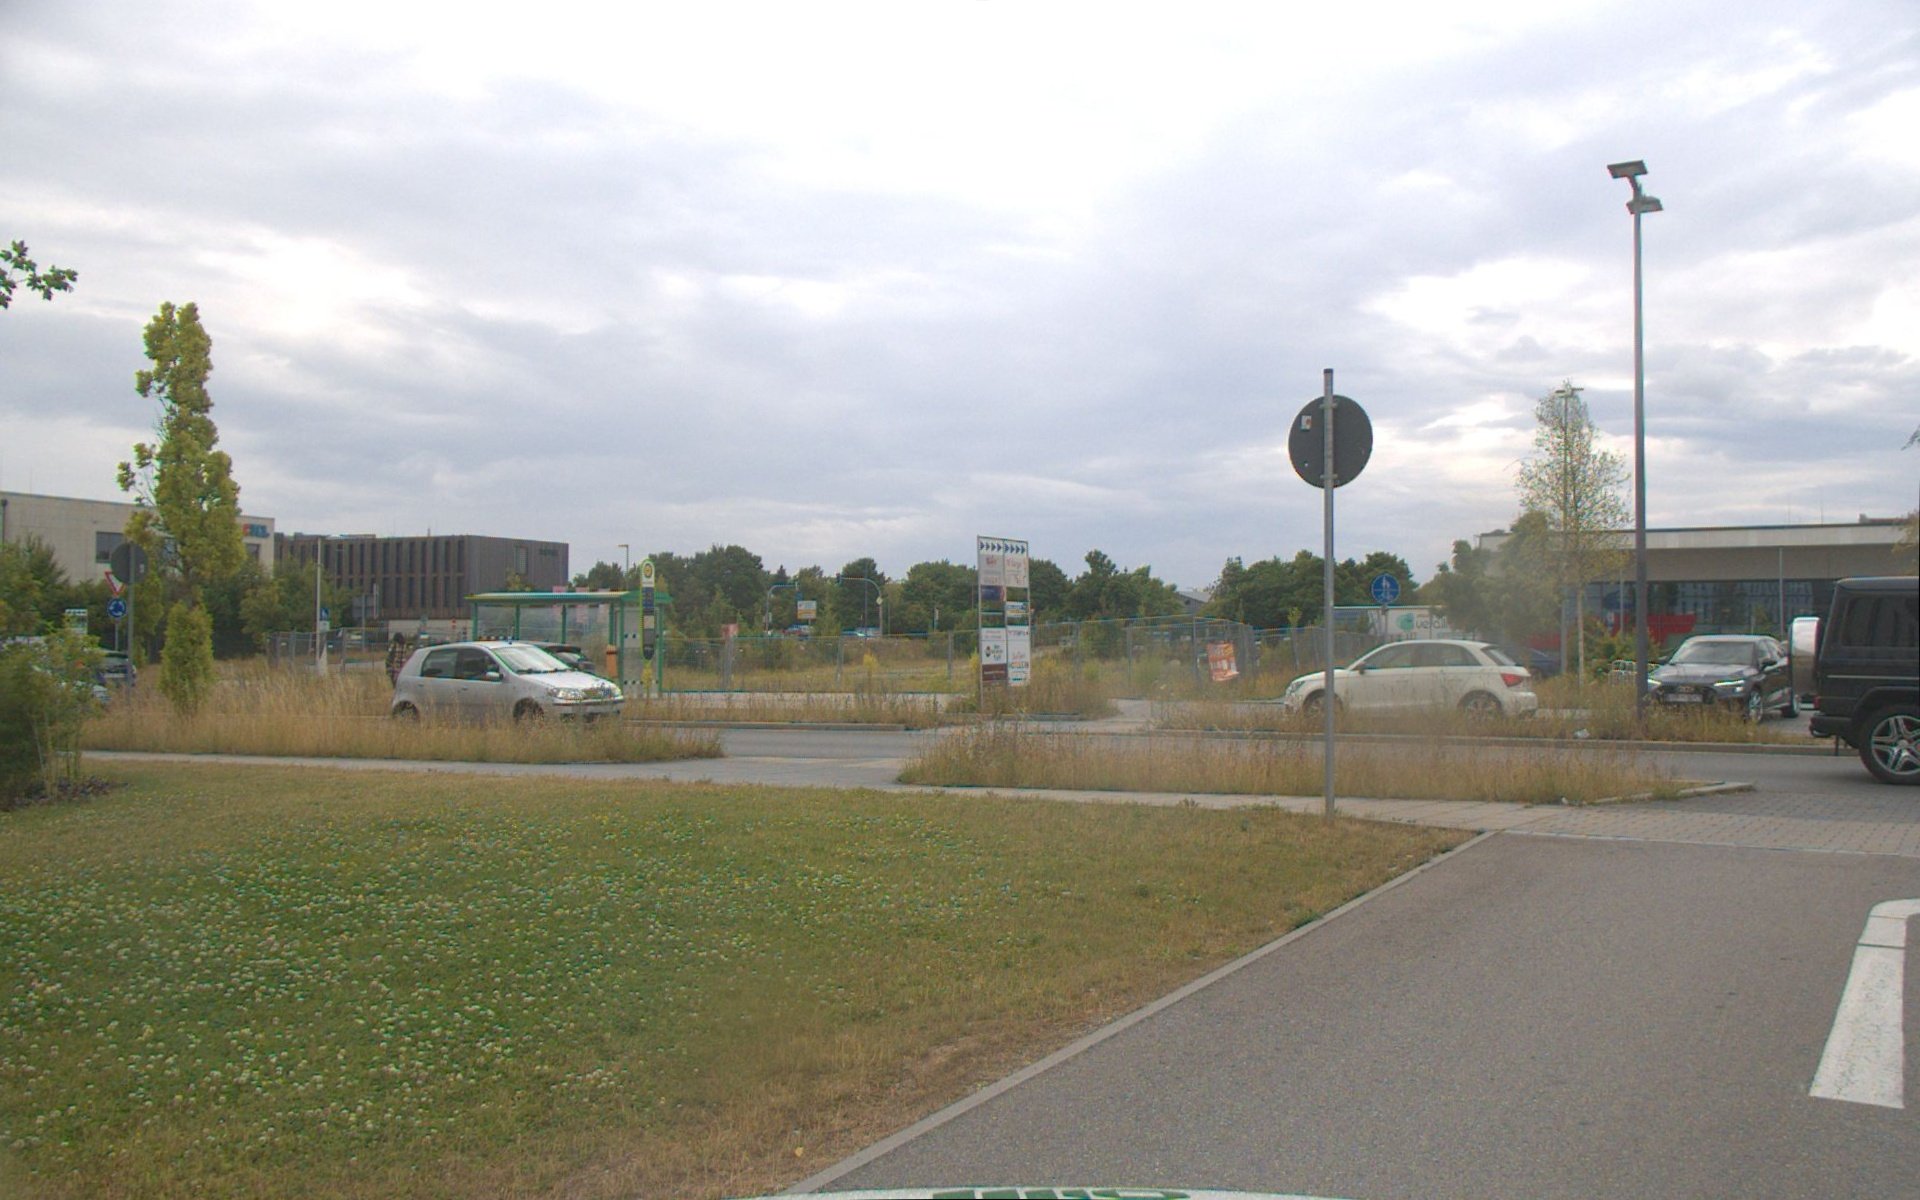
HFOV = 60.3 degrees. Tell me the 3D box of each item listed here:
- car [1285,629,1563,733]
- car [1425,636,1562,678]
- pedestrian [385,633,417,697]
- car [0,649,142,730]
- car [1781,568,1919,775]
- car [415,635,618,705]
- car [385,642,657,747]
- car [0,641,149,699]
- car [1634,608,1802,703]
[{"bbox_3d":[7.318,1.235,26.133,3.965,1.507,1.756,0,-2,28],"label":"car"},{"bbox_3d":[20.884,2.211,64.818,4.908,1.585,1.998,0,-2,25],"label":"car"},{"bbox_3d":[-15.541,1.810,45.952,0.732,1.752,0.645,1,-2,-28],"label":"pedestrian"},{"bbox_3d":[-17.479,1.629,30.885,4.203,1.411,1.757,-1,-1,26],"label":"car"},{"bbox_3d":[10.635,0.689,15.895,4.746,1.957,1.994,0,-1,33],"label":"car"},{"bbox_3d":[-9.304,1.429,34.681,3.971,1.366,1.716,0,-1,26],"label":"car"},{"bbox_3d":[-6.664,1.391,25.131,3.728,1.486,1.799,-1,-2,25],"label":"car"},{"bbox_3d":[-22.516,1.730,41.820,3.877,1.366,1.715,0,-1,30],"label":"car"},{"bbox_3d":[13.030,0.900,28.296,1.762,1.492,4.303,-1,-1,36],"label":"car"}]
